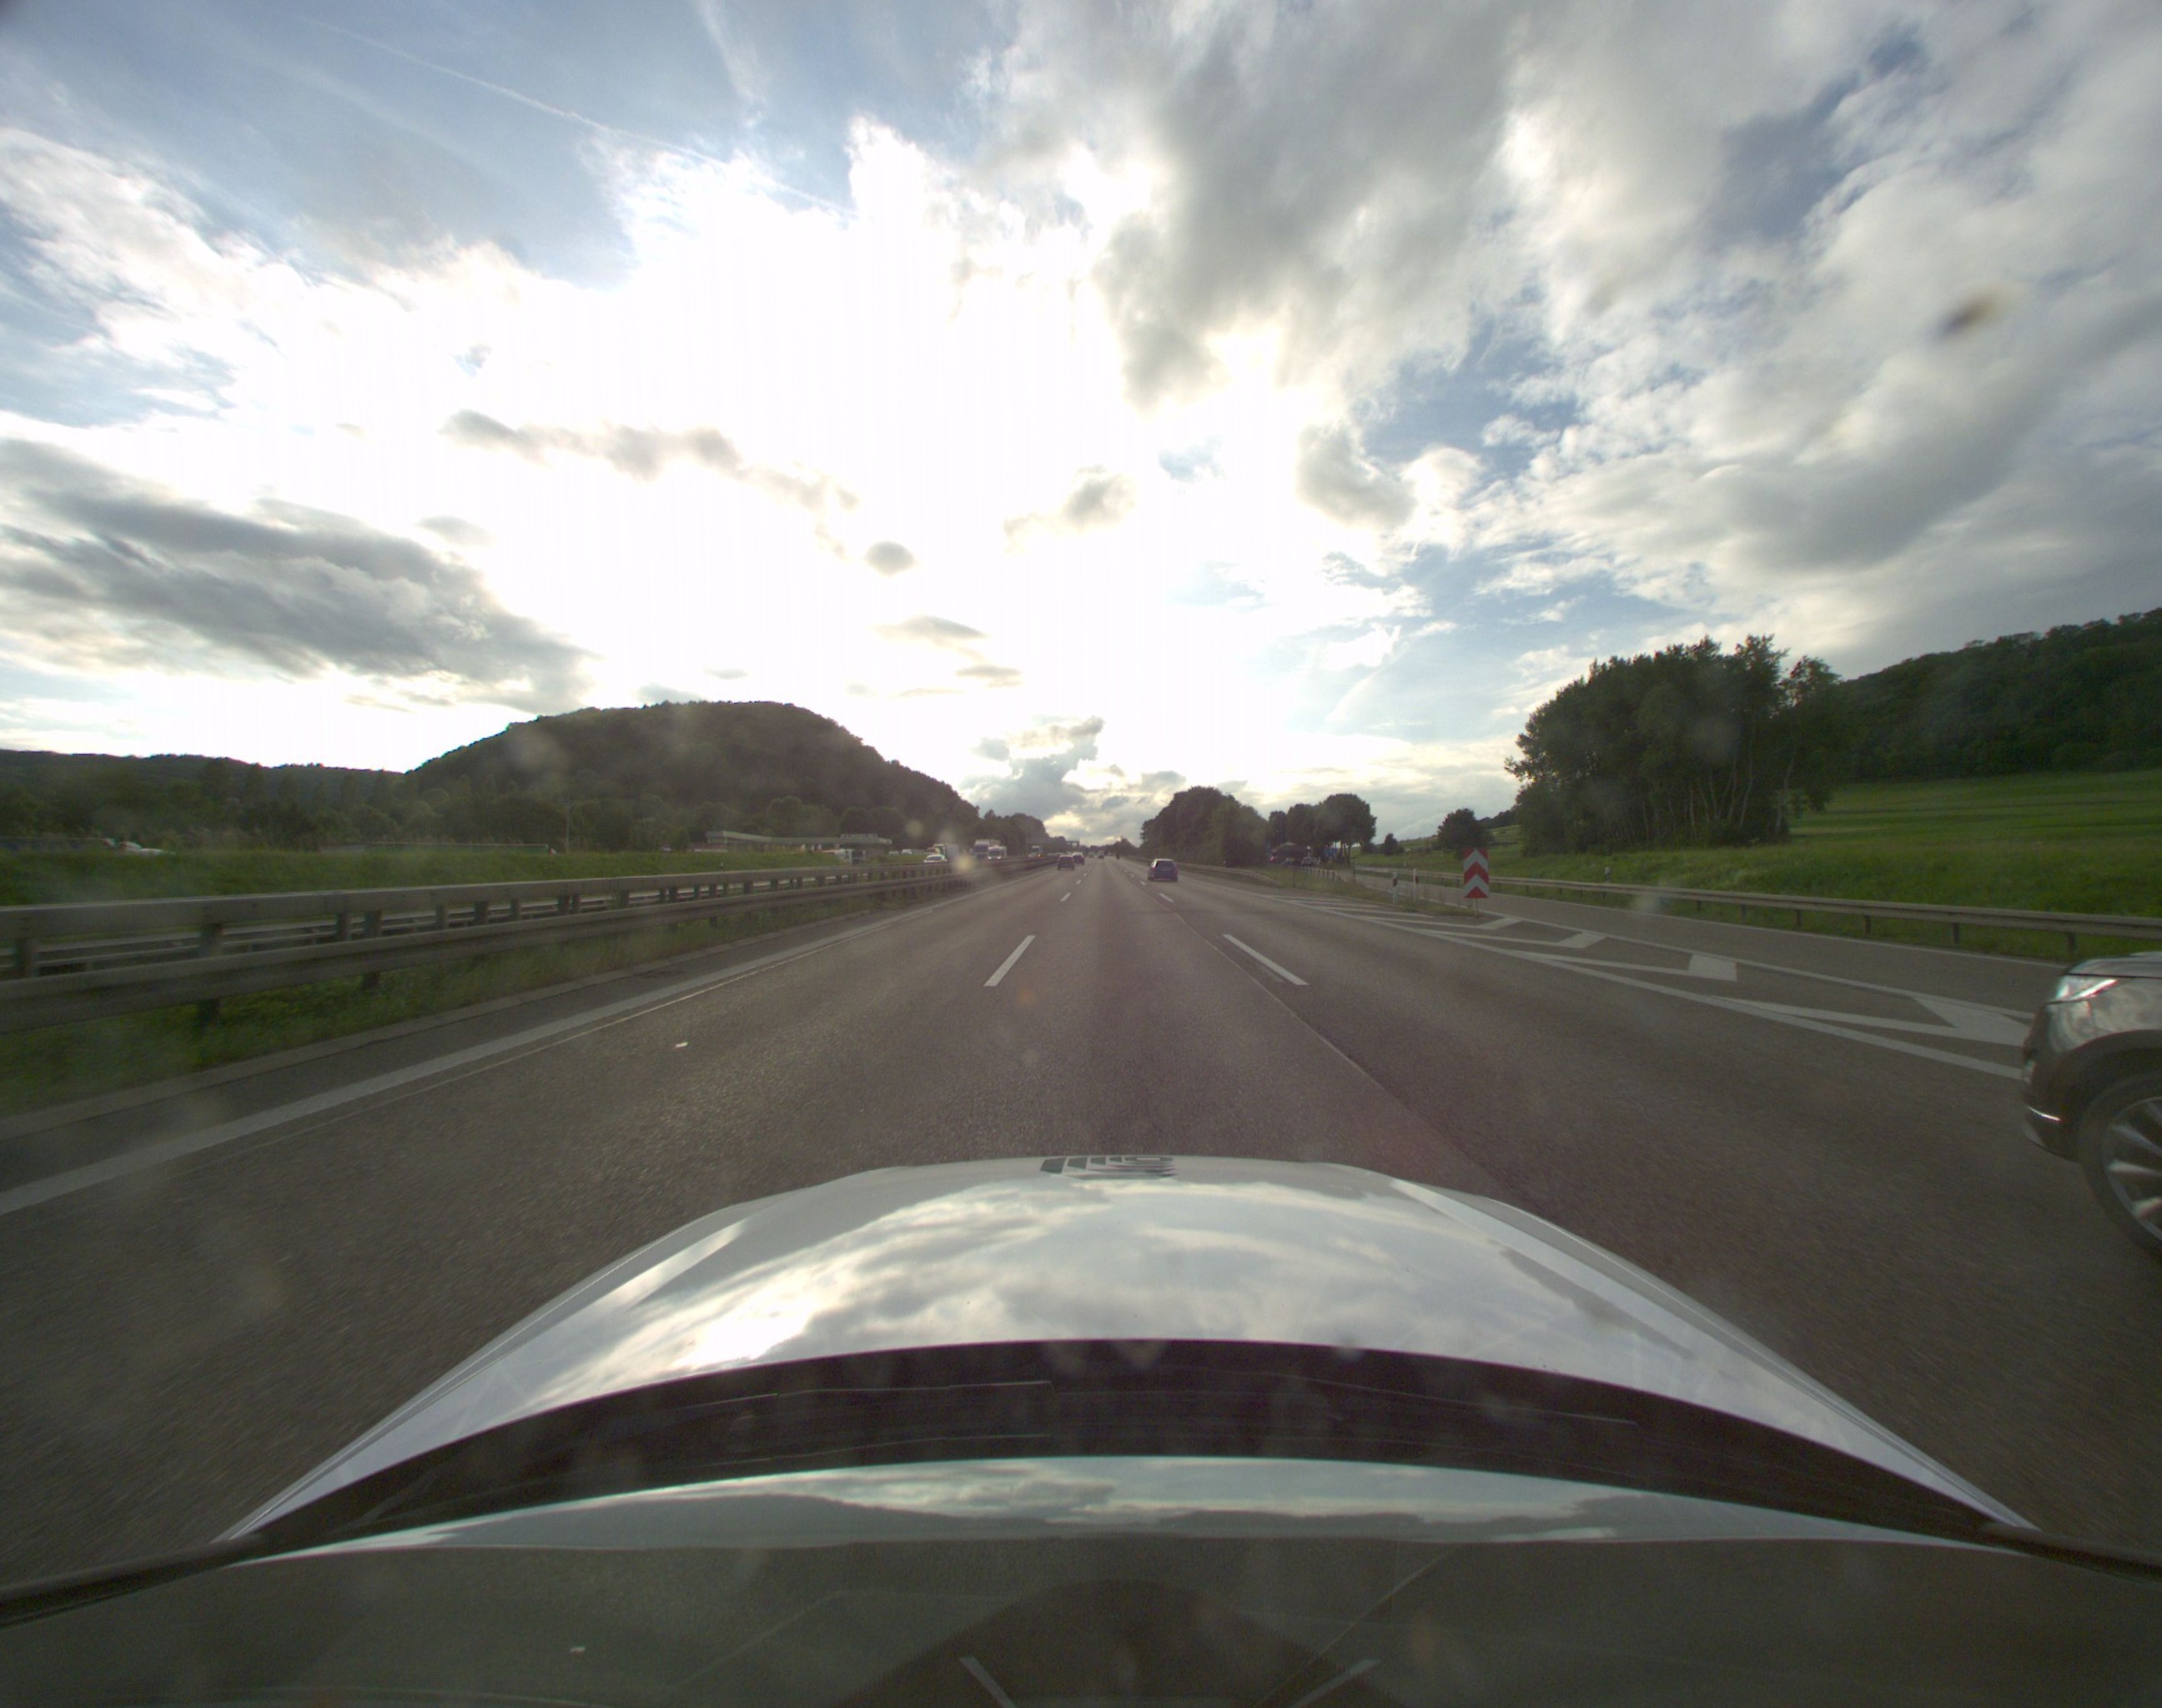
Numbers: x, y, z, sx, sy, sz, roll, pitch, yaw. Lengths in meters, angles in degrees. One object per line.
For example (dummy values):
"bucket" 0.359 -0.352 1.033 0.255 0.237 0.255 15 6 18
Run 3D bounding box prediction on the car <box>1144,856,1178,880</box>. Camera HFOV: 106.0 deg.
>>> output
"car" 5.156 0.914 53.113 1.761 1.433 3.999 -2 0 0

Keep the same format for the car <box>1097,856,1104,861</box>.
"car" 5.667 1.376 238.559 1.747 1.222 3.996 -2 0 -3

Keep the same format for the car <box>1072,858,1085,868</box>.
"car" -0.362 1.323 116.963 1.558 1.380 4.004 -2 0 4

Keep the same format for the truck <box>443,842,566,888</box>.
"truck" -38.410 0.765 54.653 2.568 2.853 7.537 -1 -1 3

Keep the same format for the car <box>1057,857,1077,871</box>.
"car" -1.357 0.960 81.502 1.530 1.348 3.683 -1 0 6

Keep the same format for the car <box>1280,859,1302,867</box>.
"car" 41.699 1.814 161.653 4.331 1.556 1.967 0 -2 -39

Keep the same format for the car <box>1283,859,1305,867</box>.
"car" 41.291 1.733 157.788 4.331 1.556 1.967 0 -2 -39

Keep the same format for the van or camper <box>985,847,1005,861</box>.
"van or camper" -12.971 0.039 122.677 2.068 1.930 4.350 -2 0 5

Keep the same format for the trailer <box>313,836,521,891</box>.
"trailer" -38.748 0.625 48.402 2.568 2.853 11.386 -1 -1 3

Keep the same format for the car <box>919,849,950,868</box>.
"car" -13.499 0.444 75.368 1.986 1.623 4.001 -1 -1 1

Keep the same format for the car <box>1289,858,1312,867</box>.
"car" 40.496 1.566 150.045 4.331 1.556 1.967 0 -2 -39

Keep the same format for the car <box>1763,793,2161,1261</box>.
"car" 4.674 0.595 2.326 1.780 1.652 4.483 -1 0 1

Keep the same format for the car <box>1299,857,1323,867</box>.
"car" 40.571 1.416 143.622 4.331 1.556 1.967 0 -2 -39

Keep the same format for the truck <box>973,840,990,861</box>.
"truck" -17.139 -0.551 140.593 1.987 3.414 6.737 -1 -1 0
